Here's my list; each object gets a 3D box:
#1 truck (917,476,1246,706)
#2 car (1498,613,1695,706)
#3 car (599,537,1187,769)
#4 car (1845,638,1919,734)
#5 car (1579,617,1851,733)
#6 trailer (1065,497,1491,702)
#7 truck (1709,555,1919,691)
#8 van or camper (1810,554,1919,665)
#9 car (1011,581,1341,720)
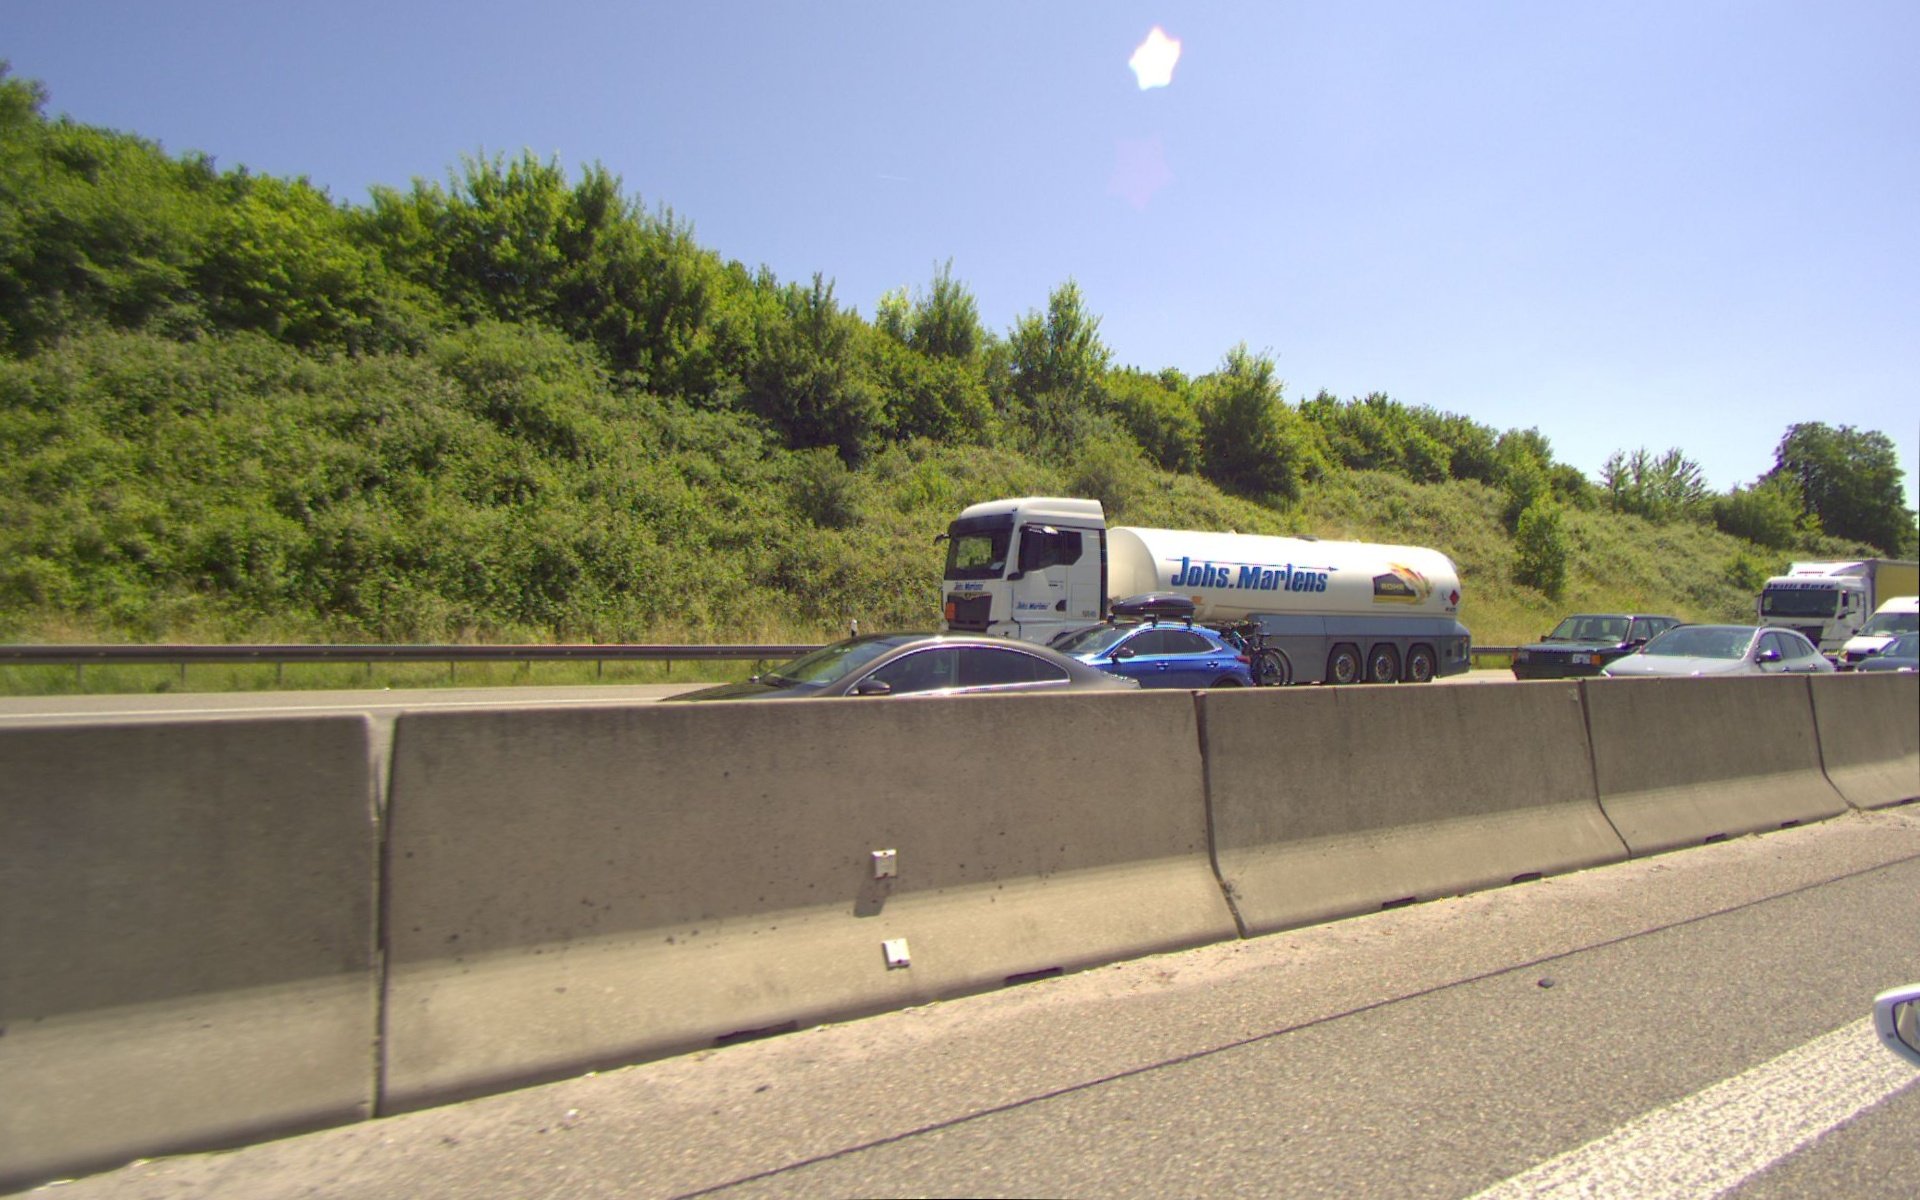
[{"bbox_3d":[2.406,-0.064,19.265,5.808,3.793,2.663,2,0,-32],"label":"truck"},{"bbox_3d":[13.892,1.254,21.833,4.713,1.751,1.984,2,0,-36],"label":"car"},{"bbox_3d":[-0.430,0.412,8.588,4.707,1.517,1.817,2,0,-32],"label":"car"},{"bbox_3d":[20.375,1.759,20.673,4.934,1.788,1.818,2,0,-31],"label":"car"},{"bbox_3d":[11.805,1.109,15.618,4.707,1.517,1.817,2,0,-32],"label":"car"},{"bbox_3d":[7.396,0.080,22.326,10.556,3.783,2.597,1,0,-30],"label":"trailer"},{"bbox_3d":[35.359,1.016,39.114,16.479,4.515,3.679,2,0,-30],"label":"truck"},{"bbox_3d":[27.087,0.368,27.570,7.102,2.812,2.250,2,0,-18],"label":"van or camper"},{"bbox_3d":[3.318,0.724,14.995,4.936,1.788,1.817,2,0,-32],"label":"car"}]
